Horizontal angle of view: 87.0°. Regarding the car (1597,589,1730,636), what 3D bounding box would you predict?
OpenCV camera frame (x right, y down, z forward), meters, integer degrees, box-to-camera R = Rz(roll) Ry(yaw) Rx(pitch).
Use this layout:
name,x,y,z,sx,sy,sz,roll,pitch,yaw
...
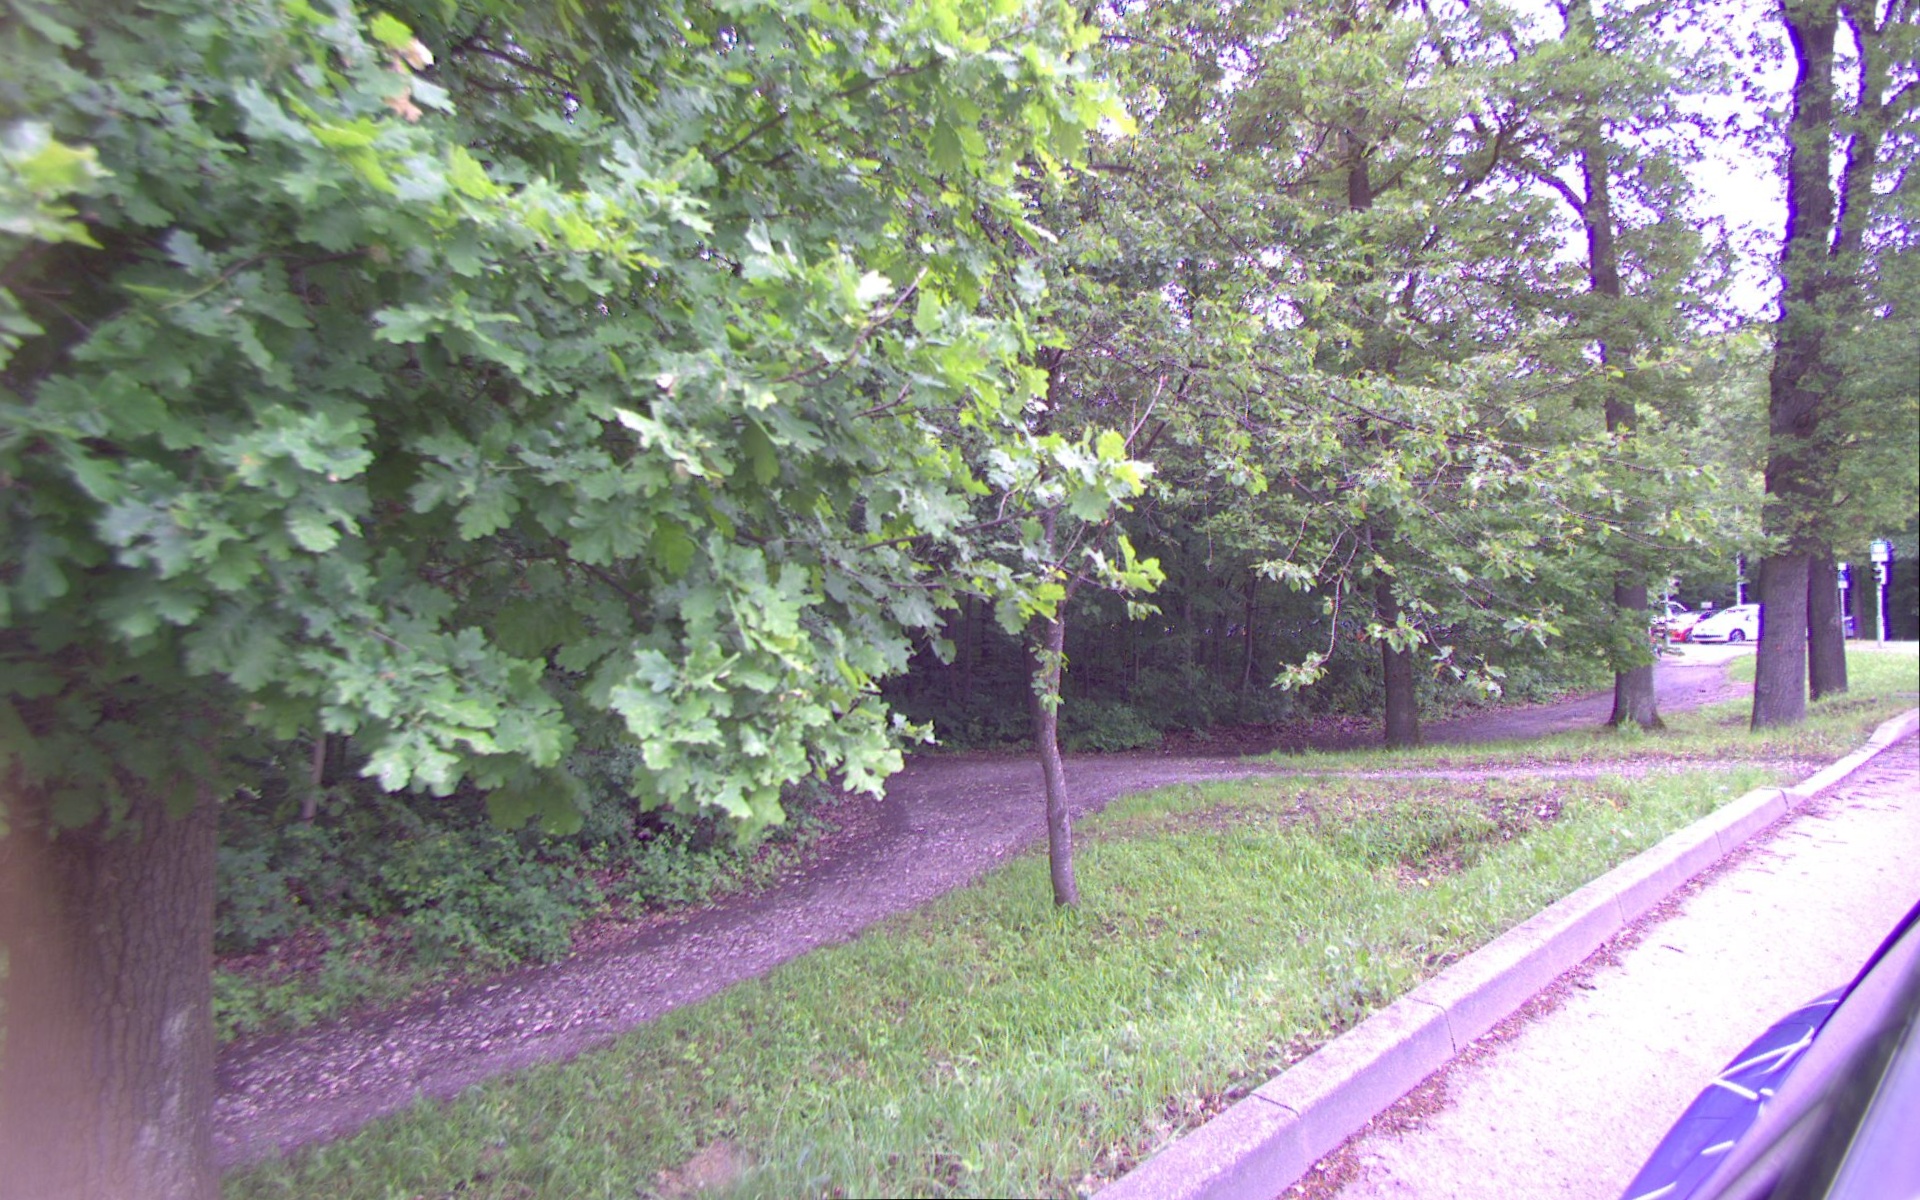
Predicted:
name,x,y,z,sx,sy,sz,roll,pitch,yaw
car,33.321,0.596,48.021,5.076,1.982,2.065,-2,-2,-10

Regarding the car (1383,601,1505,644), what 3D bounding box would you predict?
name,x,y,z,sx,sy,sz,roll,pitch,yaw
car,22.549,1.062,47.225,4.847,1.903,2.003,0,-2,-11

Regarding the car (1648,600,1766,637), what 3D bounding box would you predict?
name,x,y,z,sx,sy,sz,roll,pitch,yaw
car,33.448,0.847,45.377,3.919,1.572,1.896,-1,-2,-6

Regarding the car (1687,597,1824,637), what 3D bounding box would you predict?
name,x,y,z,sx,sy,sz,roll,pitch,yaw
car,33.718,0.733,42.951,4.332,1.572,2.001,-1,-2,-6
